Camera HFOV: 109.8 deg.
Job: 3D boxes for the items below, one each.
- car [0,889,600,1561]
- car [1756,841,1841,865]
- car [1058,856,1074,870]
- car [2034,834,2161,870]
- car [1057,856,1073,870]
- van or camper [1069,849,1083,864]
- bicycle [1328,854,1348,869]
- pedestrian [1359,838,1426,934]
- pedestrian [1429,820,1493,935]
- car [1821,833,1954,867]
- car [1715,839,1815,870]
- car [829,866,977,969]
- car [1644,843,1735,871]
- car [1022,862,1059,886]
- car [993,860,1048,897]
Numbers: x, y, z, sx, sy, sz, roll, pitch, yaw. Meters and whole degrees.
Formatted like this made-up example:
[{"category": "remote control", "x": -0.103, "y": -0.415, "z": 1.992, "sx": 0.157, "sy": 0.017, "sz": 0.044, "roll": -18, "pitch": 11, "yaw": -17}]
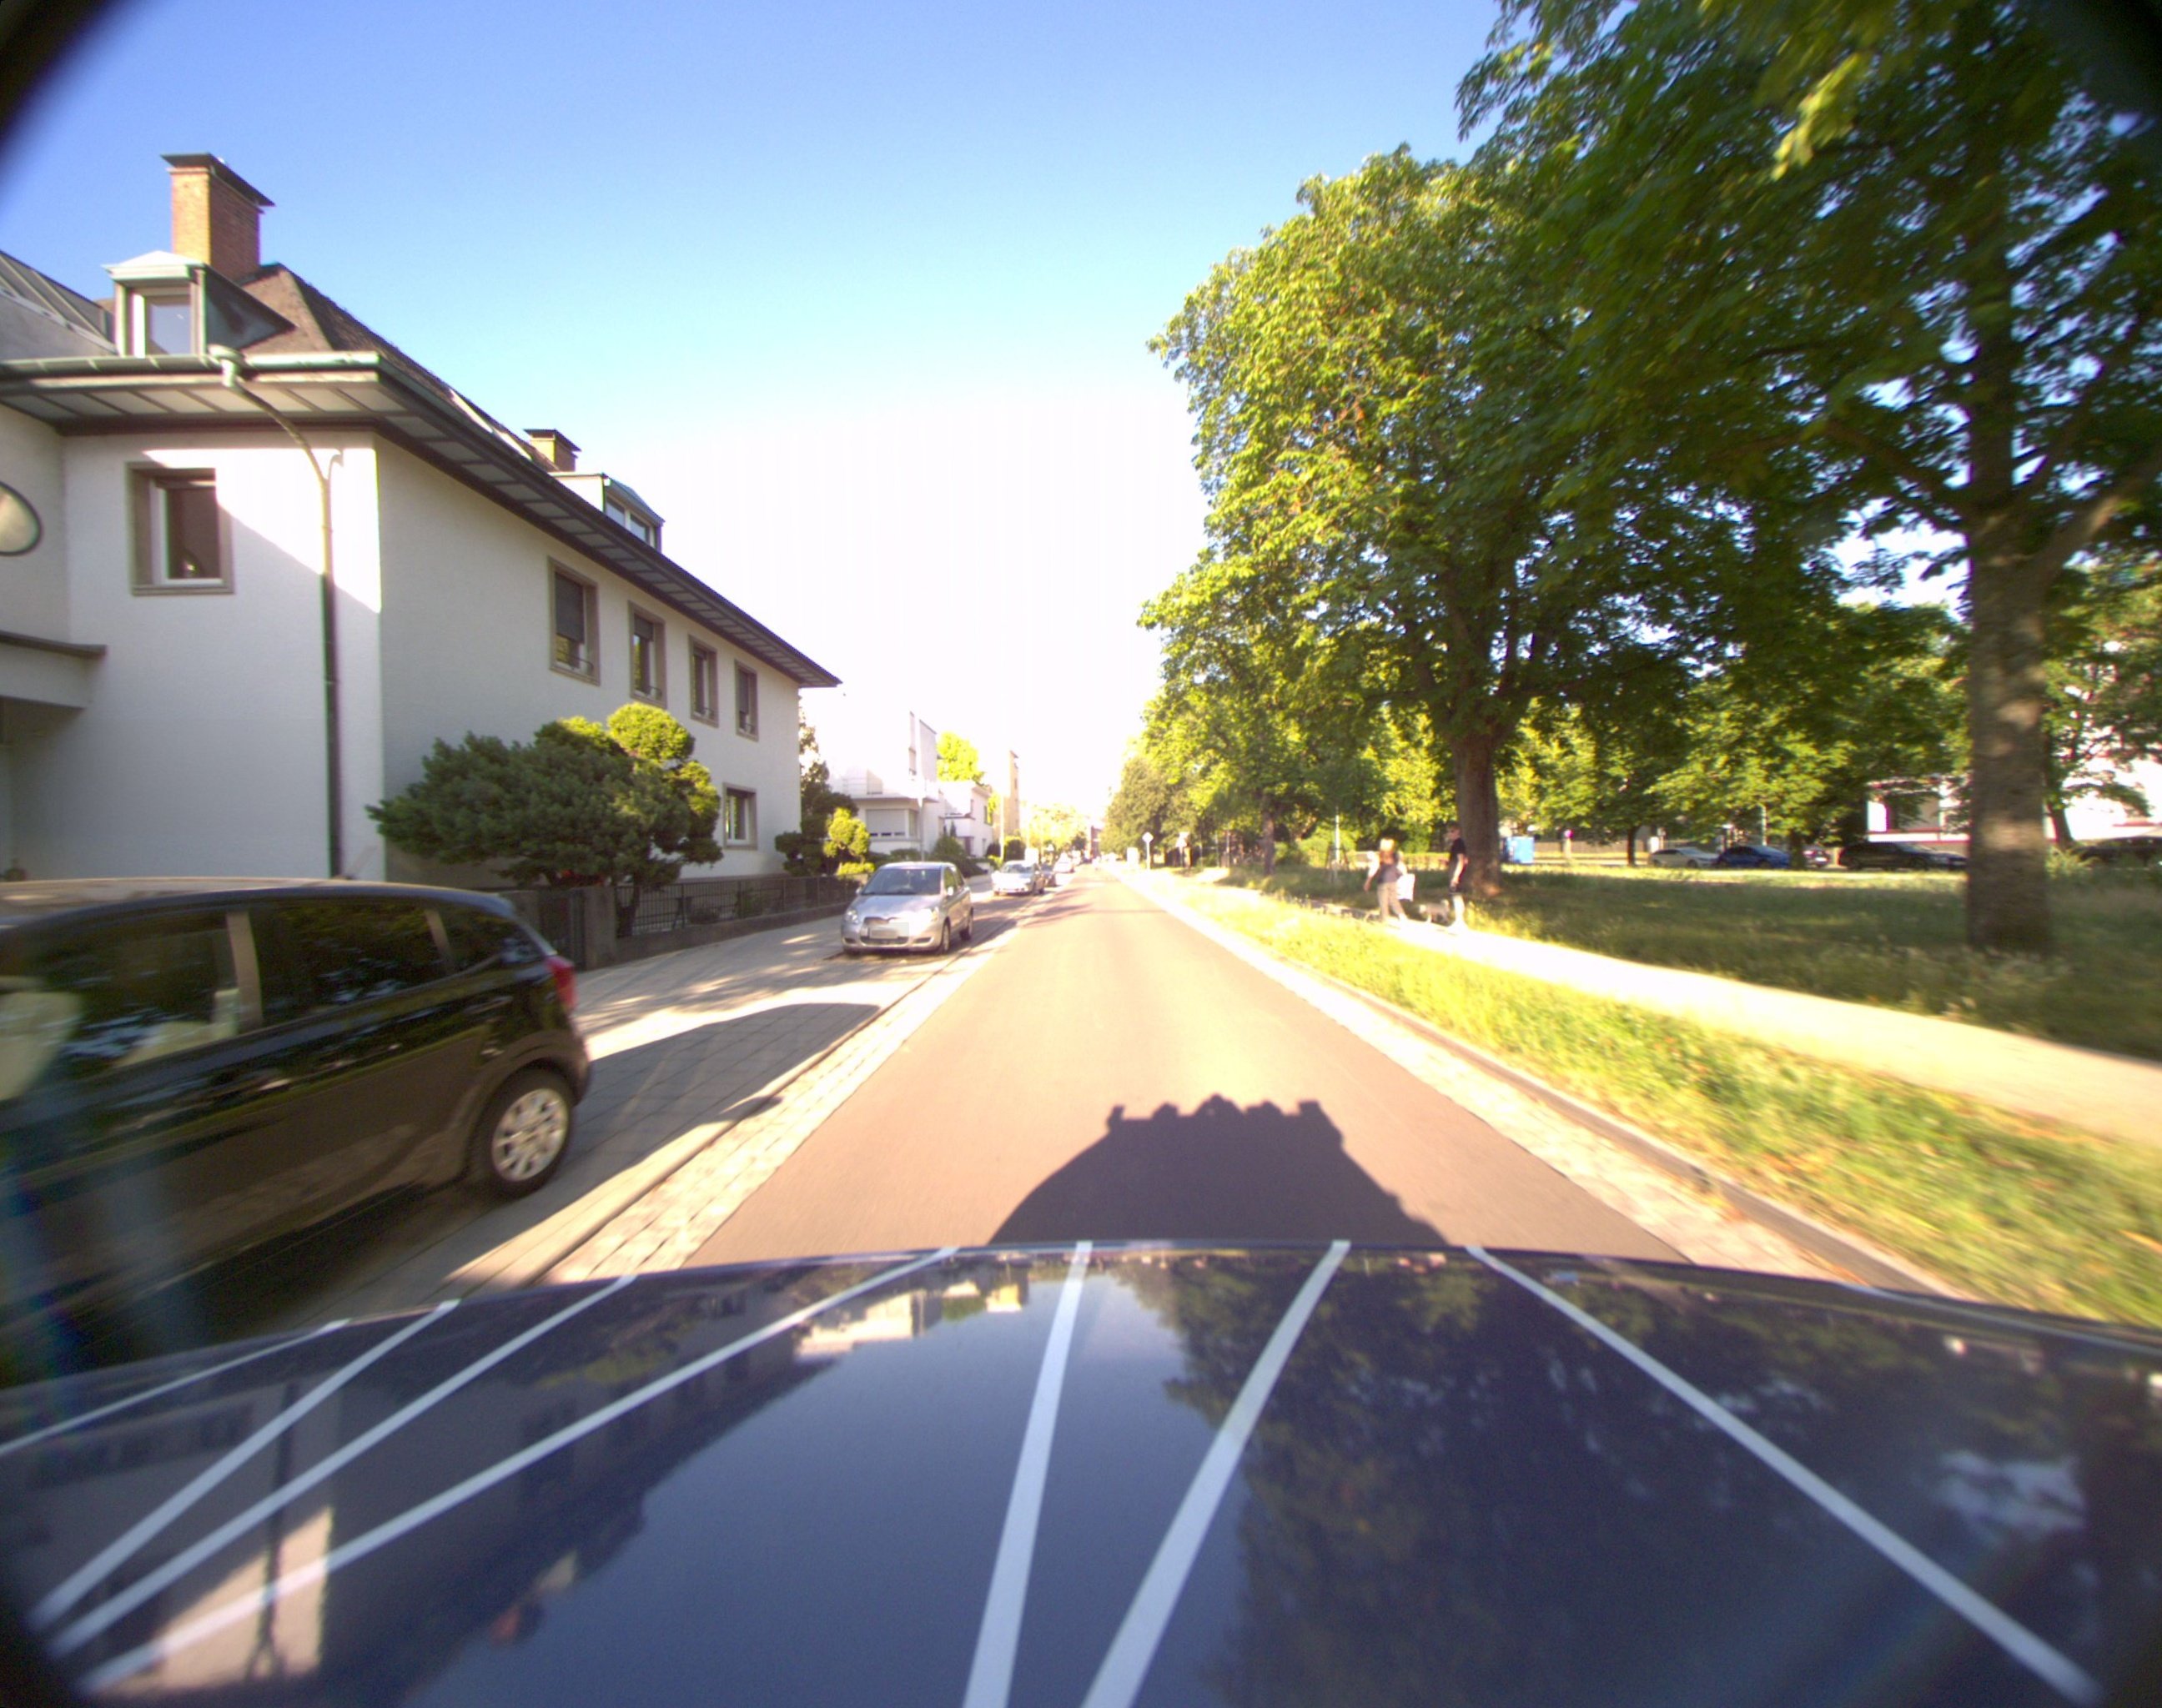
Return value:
[{"category": "car", "x": -3.398, "y": 0.945, "z": 2.019, "sx": 1.661, "sy": 1.485, "sz": 3.717, "roll": 0, "pitch": 1, "yaw": 5}, {"category": "car", "x": 43.366, "y": -0.082, "z": 46.066, "sx": 1.574, "sy": 1.324, "sz": 3.852, "roll": -3, "pitch": 0, "yaw": 2}, {"category": "car", "x": -1.703, "y": 1.025, "z": 86.850, "sx": 1.682, "sy": 1.546, "sz": 4.130, "roll": 0, "pitch": 0, "yaw": 2}, {"category": "car", "x": 42.722, "y": -0.108, "z": 31.203, "sx": 1.574, "sy": 1.324, "sz": 4.481, "roll": -3, "pitch": 0, "yaw": 2}, {"category": "car", "x": -1.655, "y": 0.905, "z": 80.633, "sx": 1.567, "sy": 1.382, "sz": 4.374, "roll": 0, "pitch": 0, "yaw": 1}, {"category": "van or camper", "x": -0.950, "y": 0.435, "z": 140.048, "sx": 2.427, "sy": 2.766, "sz": 5.951, "roll": 1, "pitch": 1, "yaw": 0}, {"category": "bicycle", "x": 20.885, "y": 0.625, "z": 61.736, "sx": 1.591, "sy": 1.180, "sz": 0.419, "roll": -2, "pitch": 1, "yaw": -22}, {"category": "pedestrian", "x": 5.431, "y": 0.539, "z": 13.295, "sx": 0.785, "sy": 1.605, "sz": 0.952, "roll": -2, "pitch": 0, "yaw": 4}, {"category": "pedestrian", "x": 6.298, "y": 0.380, "z": 12.618, "sx": 0.625, "sy": 1.820, "sz": 0.886, "roll": -2, "pitch": 0, "yaw": 4}, {"category": "car", "x": 37.596, "y": -0.173, "z": 35.602, "sx": 1.697, "sy": 1.468, "sz": 4.221, "roll": -2, "pitch": 0, "yaw": -1}, {"category": "car", "x": 38.026, "y": 0.035, "z": 42.397, "sx": 1.697, "sy": 1.588, "sz": 4.220, "roll": -2, "pitch": 0, "yaw": -2}, {"category": "car", "x": -2.925, "y": 0.976, "z": 13.235, "sx": 1.631, "sy": 1.496, "sz": 3.633, "roll": 0, "pitch": 0, "yaw": 2}, {"category": "car", "x": 38.041, "y": 0.175, "z": 47.672, "sx": 1.697, "sy": 1.588, "sz": 4.755, "roll": -2, "pitch": 0, "yaw": -2}, {"category": "car", "x": -2.334, "y": 1.131, "z": 44.611, "sx": 1.779, "sy": 1.281, "sz": 4.273, "roll": 1, "pitch": 0, "yaw": 1}, {"category": "car", "x": -2.560, "y": 1.012, "z": 32.920, "sx": 1.748, "sy": 1.465, "sz": 3.923, "roll": 1, "pitch": 0, "yaw": 4}]
